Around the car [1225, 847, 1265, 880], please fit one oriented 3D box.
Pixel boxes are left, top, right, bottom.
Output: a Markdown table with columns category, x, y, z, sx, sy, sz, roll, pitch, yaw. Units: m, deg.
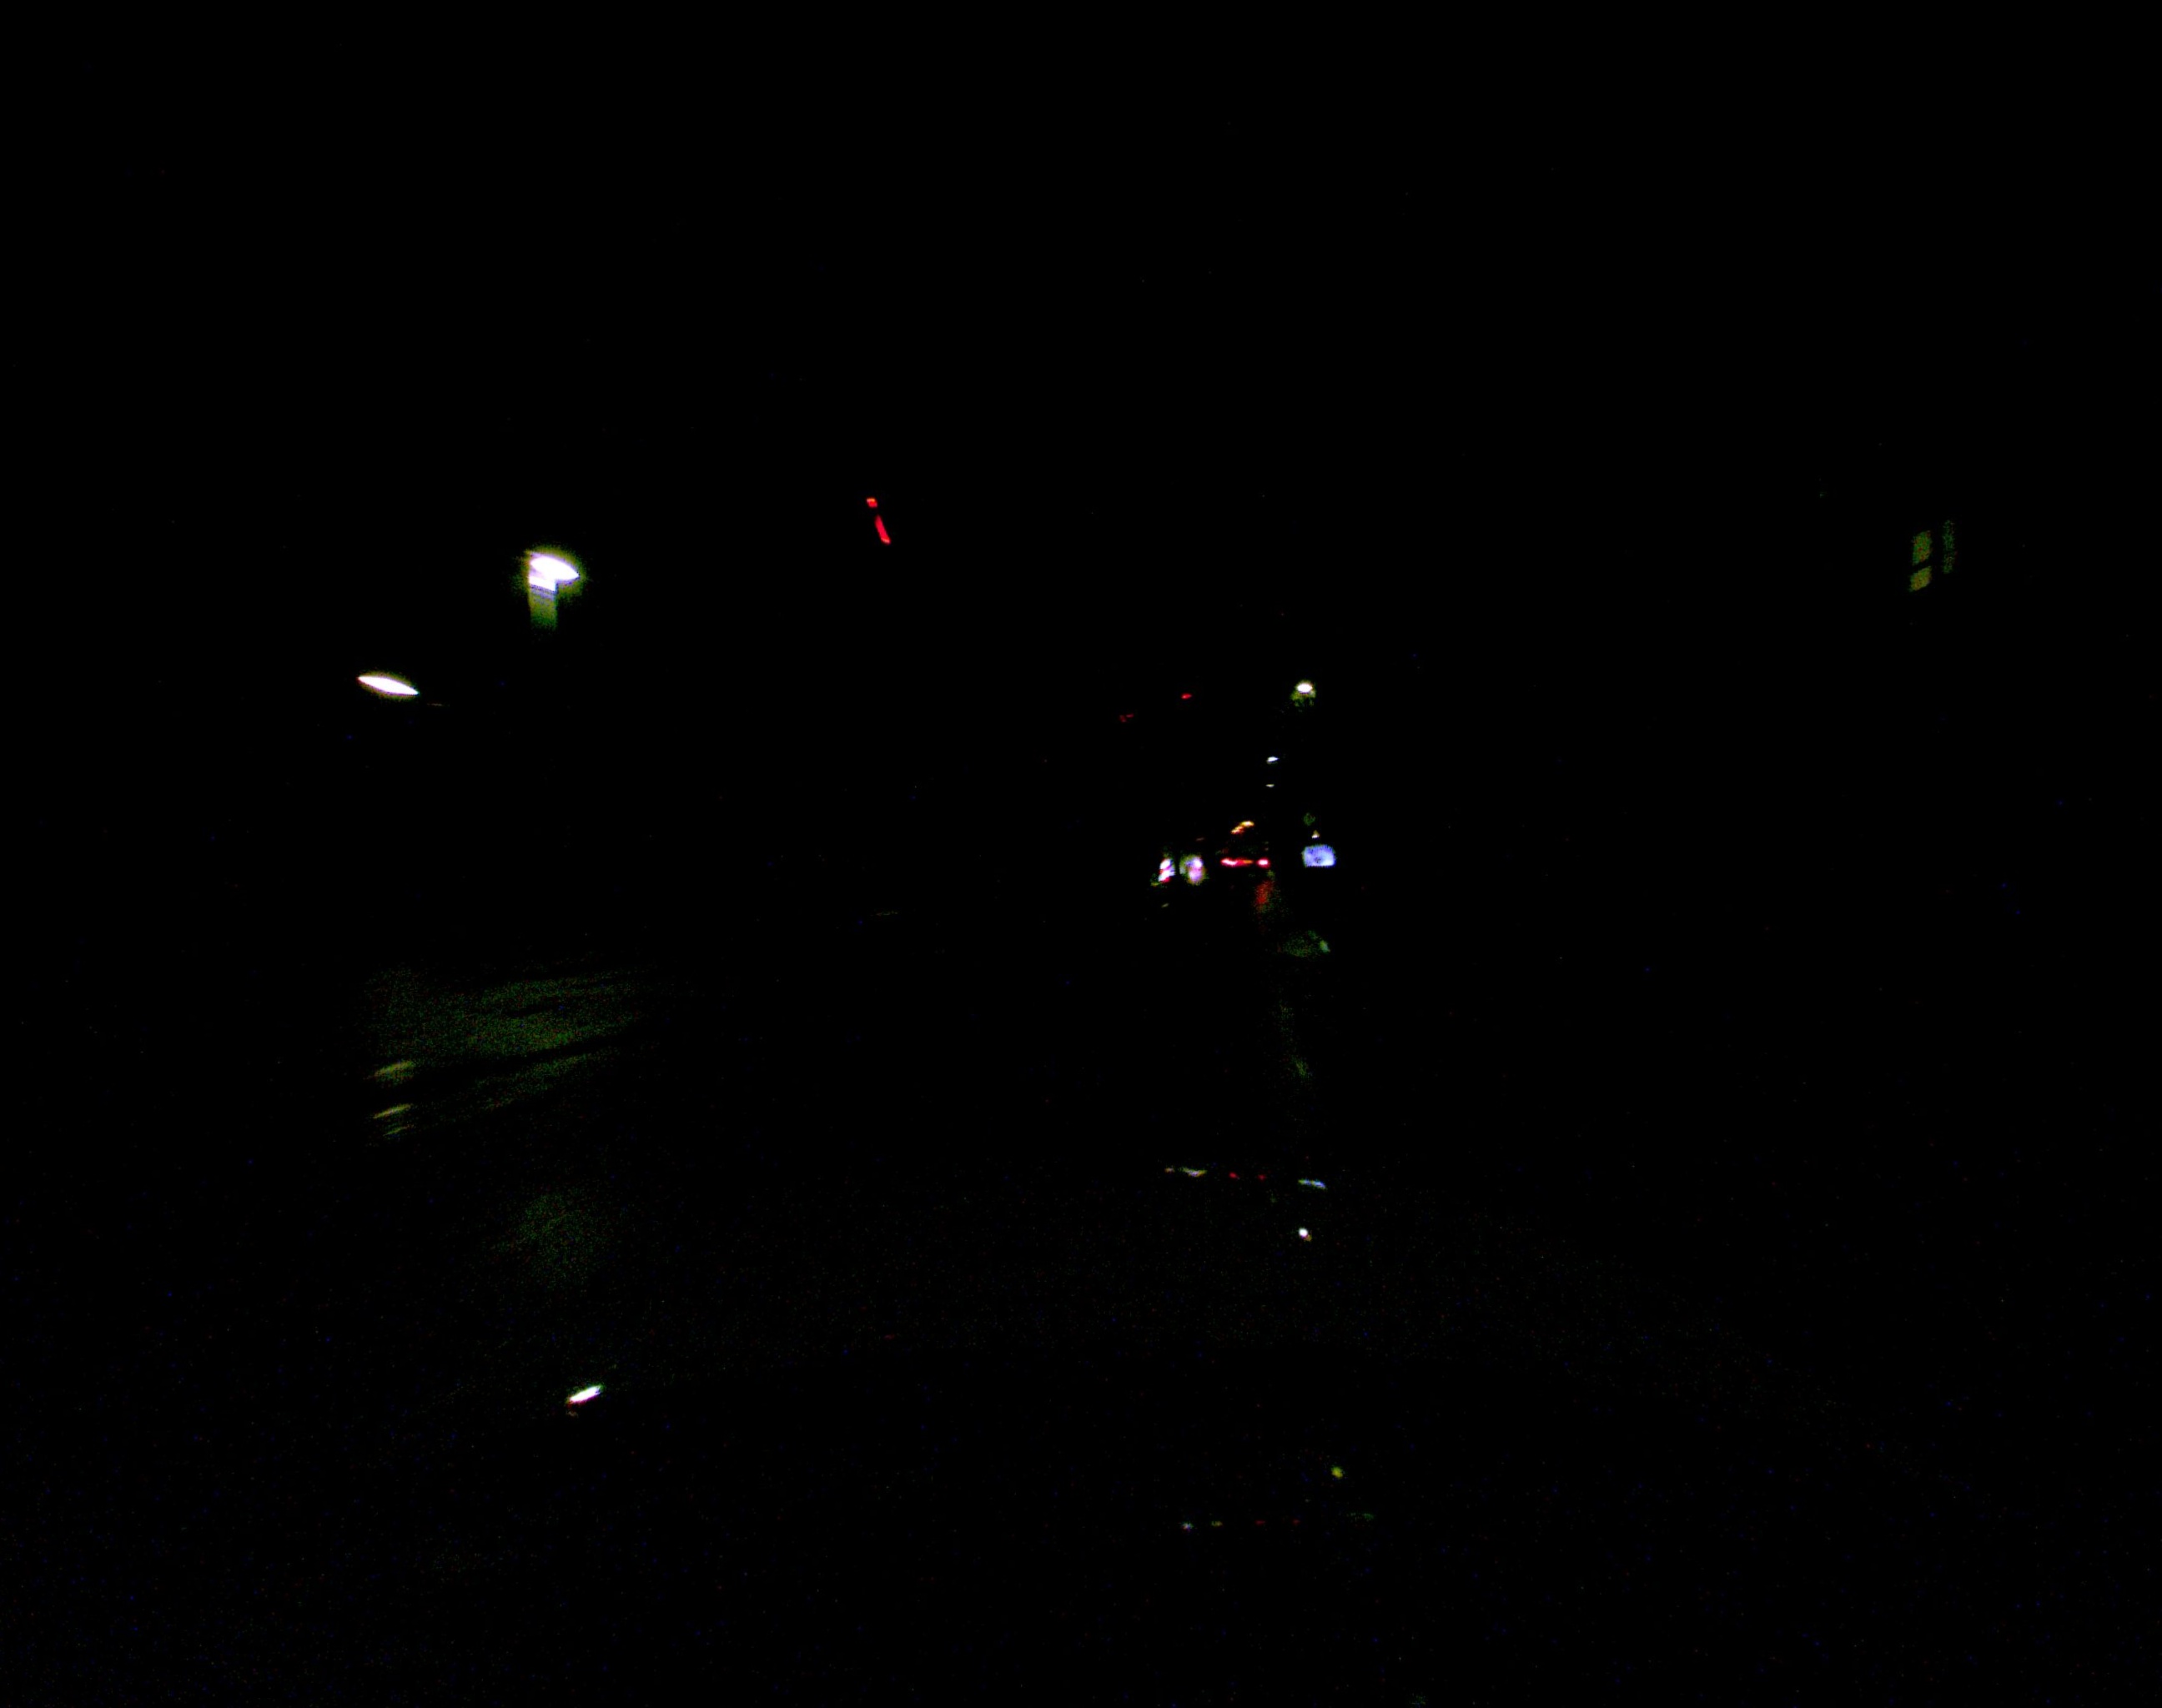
| category | x | y | z | sx | sy | sz | roll | pitch | yaw |
| --- | --- | --- | --- | --- | --- | --- | --- | --- | --- |
| car | 8.949 | 0.490 | 44.392 | 1.980 | 1.684 | 4.013 | 2 | 1 | 12 |

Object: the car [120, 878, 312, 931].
| category | x | y | z | sx | sy | sz | roll | pitch | yaw |
| --- | --- | --- | --- | --- | --- | --- | --- | --- | --- |
| car | -26.091 | 1.462 | 24.684 | 1.517 | 1.335 | 3.845 | -1 | 0 | 36 |

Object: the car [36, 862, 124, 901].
| category | x | y | z | sx | sy | sz | roll | pitch | yaw |
| --- | --- | --- | --- | --- | --- | --- | --- | --- | --- |
| car | -49.237 | 1.348 | 40.068 | 3.755 | 1.838 | 2.012 | -1 | 0 | 28 |
